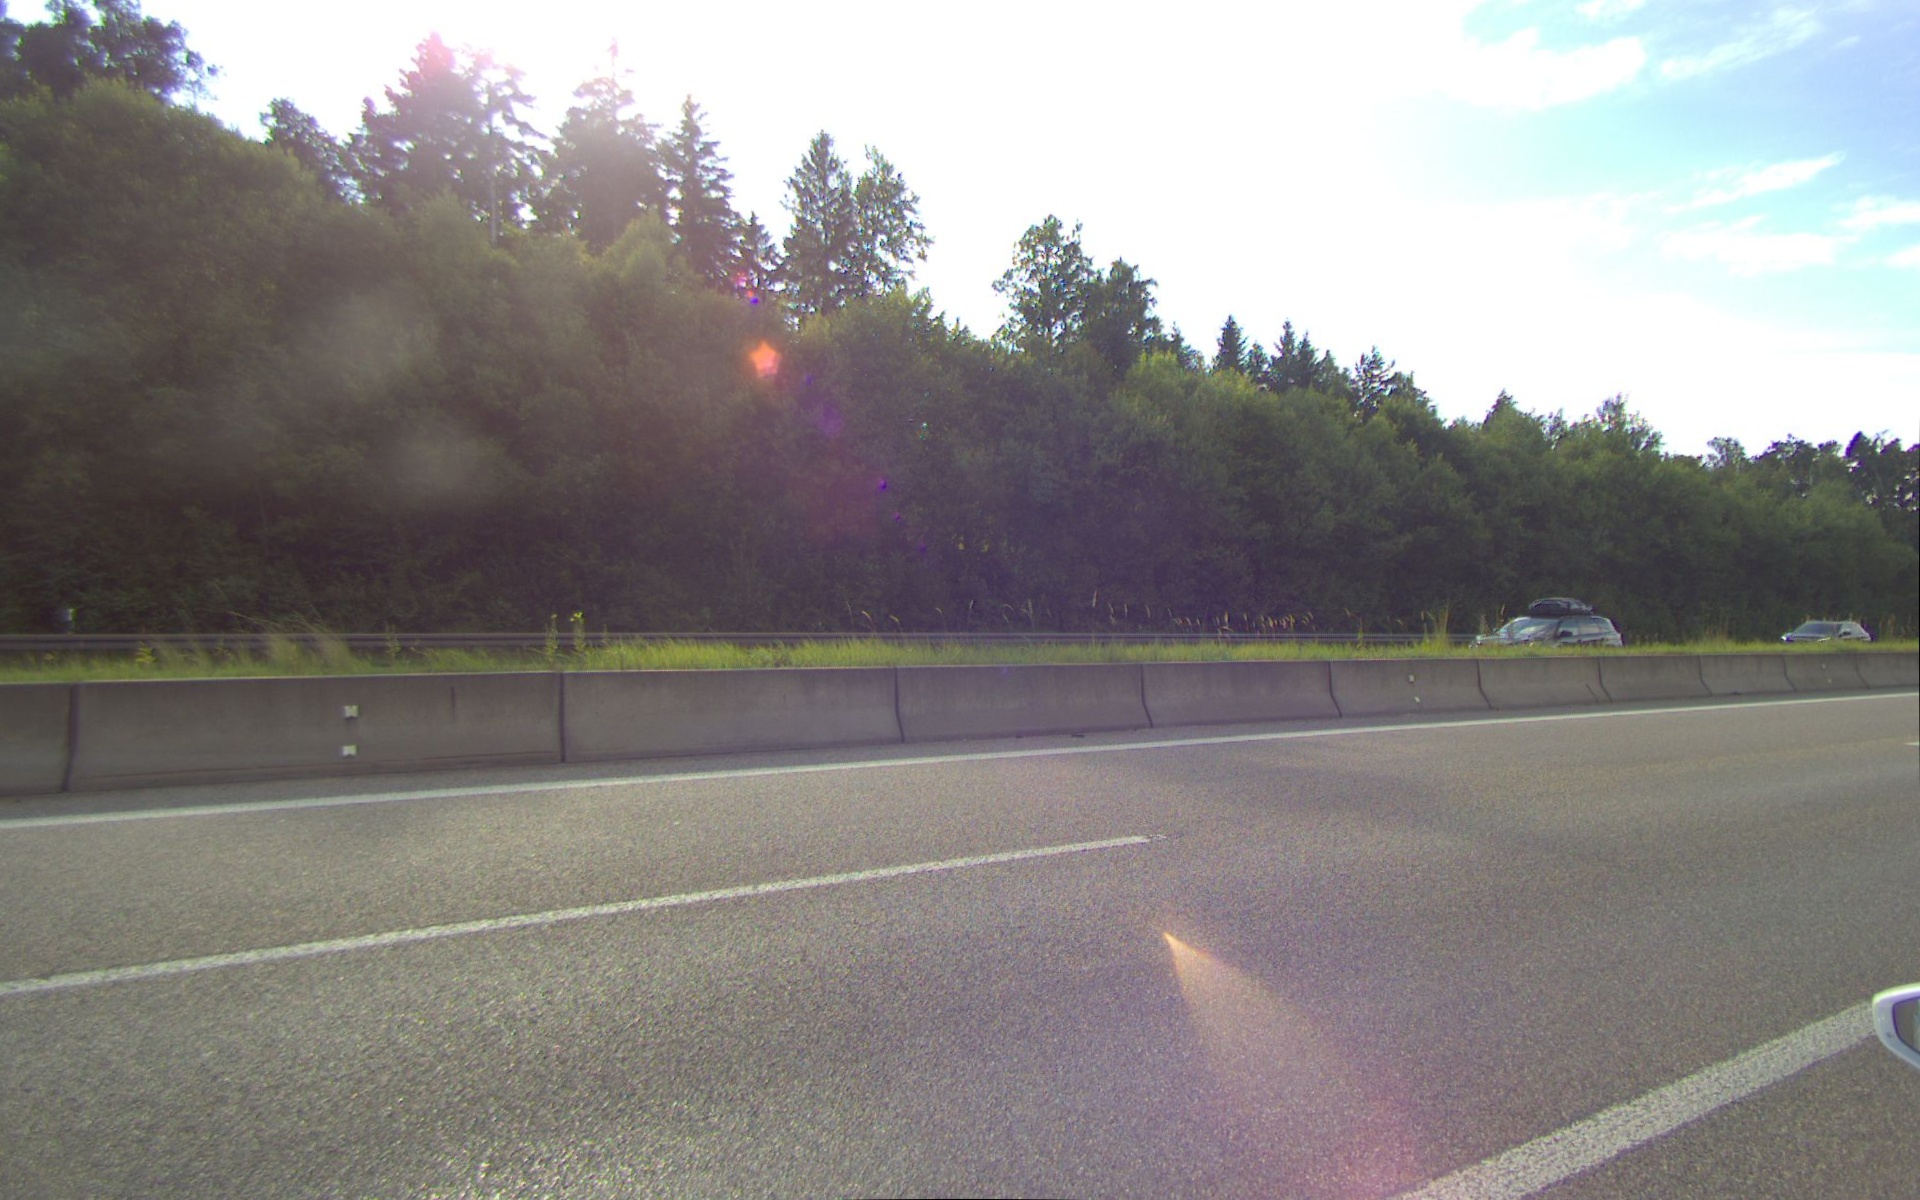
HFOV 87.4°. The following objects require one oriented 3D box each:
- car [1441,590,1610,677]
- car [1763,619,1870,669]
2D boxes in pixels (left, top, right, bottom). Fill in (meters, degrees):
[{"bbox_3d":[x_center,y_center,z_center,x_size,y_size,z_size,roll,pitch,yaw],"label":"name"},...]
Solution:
[{"bbox_3d":[14.392,0.819,25.538,4.023,2.040,1.984,1,0,-30],"label":"car"},{"bbox_3d":[34.973,1.752,41.001,4.385,1.906,1.984,1,0,-30],"label":"car"}]
